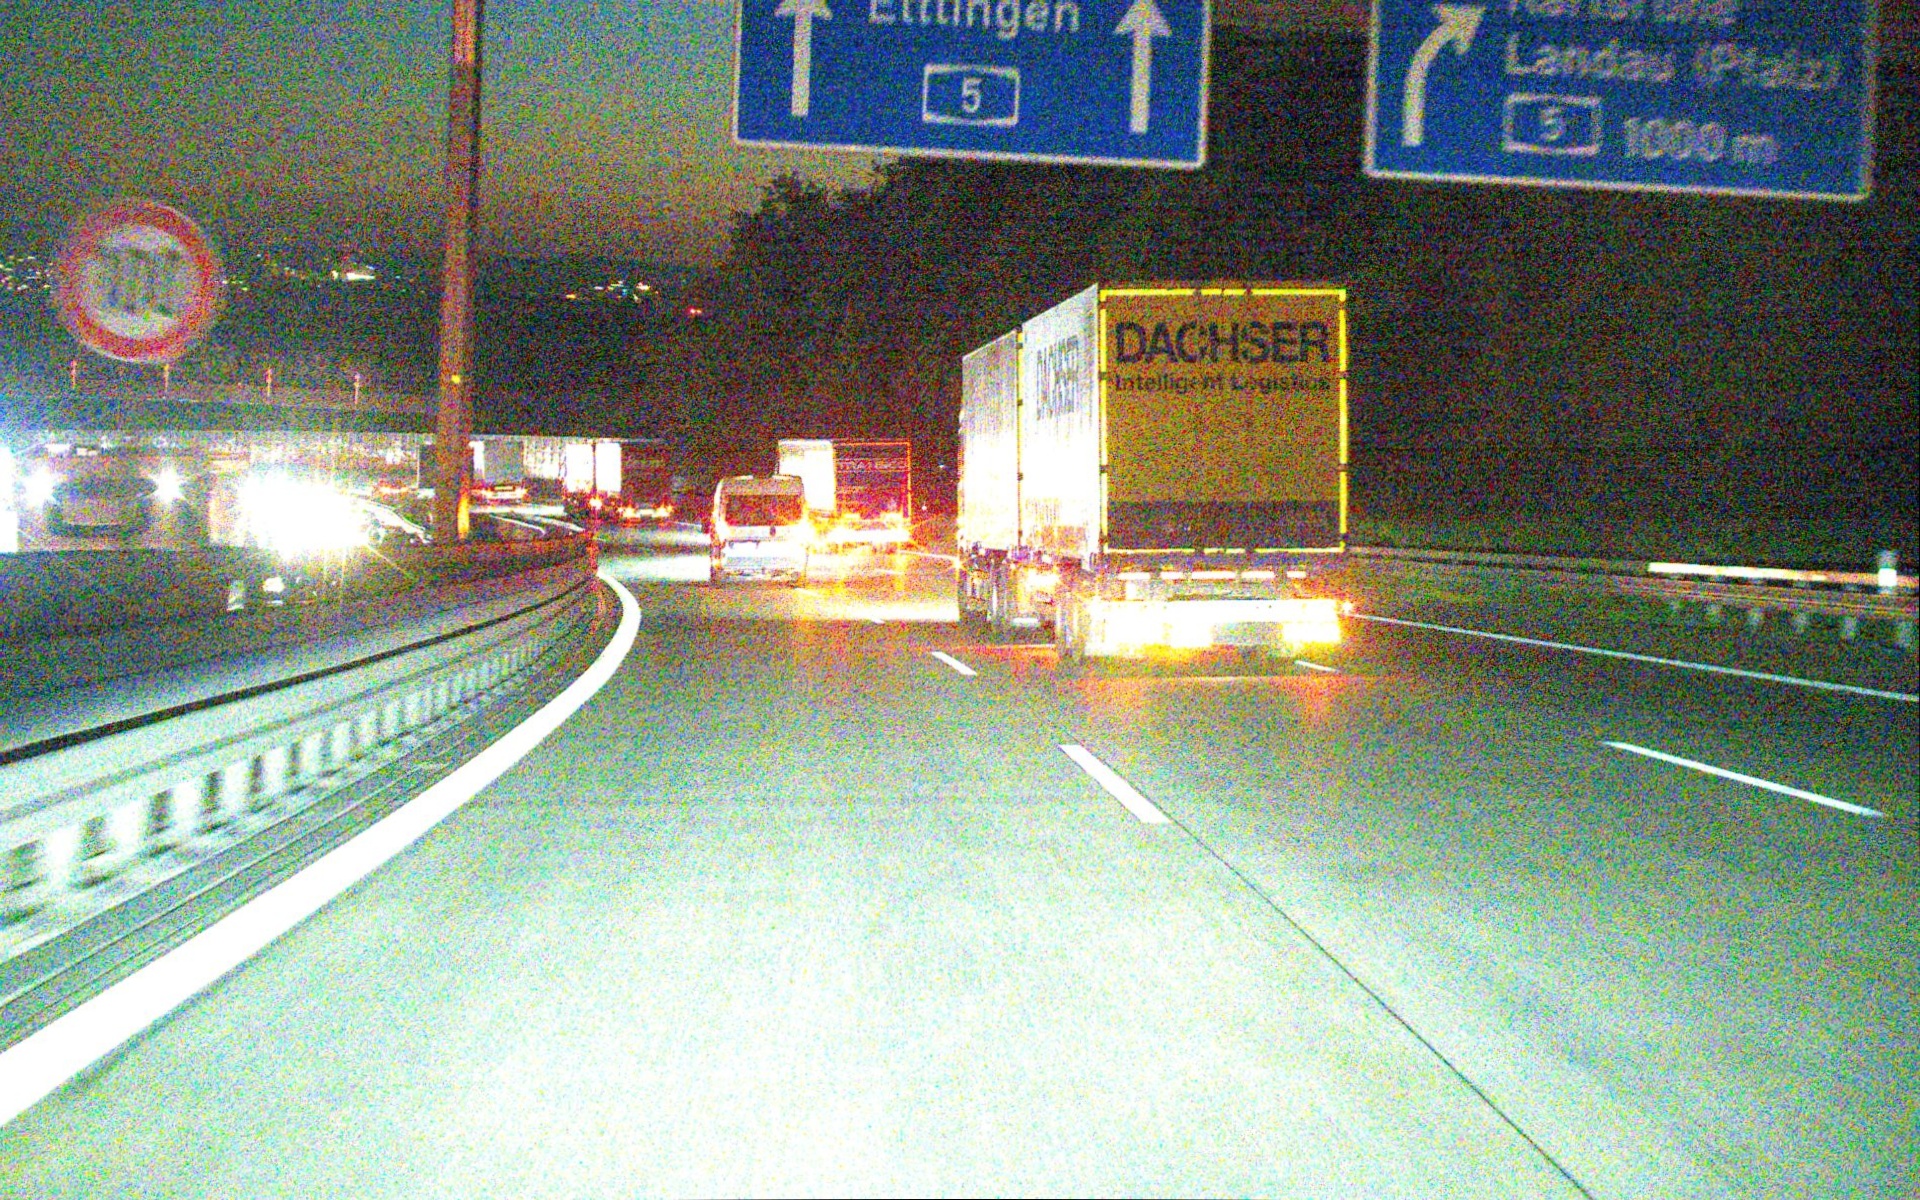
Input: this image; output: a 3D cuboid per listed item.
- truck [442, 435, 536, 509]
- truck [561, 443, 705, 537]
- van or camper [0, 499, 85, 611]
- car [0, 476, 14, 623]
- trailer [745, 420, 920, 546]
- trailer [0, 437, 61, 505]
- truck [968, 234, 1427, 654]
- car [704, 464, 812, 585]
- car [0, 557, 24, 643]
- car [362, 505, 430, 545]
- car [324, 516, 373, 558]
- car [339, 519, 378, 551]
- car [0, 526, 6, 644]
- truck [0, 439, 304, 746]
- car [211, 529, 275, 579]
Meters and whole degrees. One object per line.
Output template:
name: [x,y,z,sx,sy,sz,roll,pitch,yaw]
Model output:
truck: [-30.428,-8.307,221.339,3.343,4.460,13.915,2,2,-18]
truck: [-17.562,-5.929,182.354,3.914,4.611,21.027,-2,3,-15]
van or camper: [-24.002,-1.181,88.245,2.444,2.751,6.491,-1,1,-10]
car: [-14.030,-0.677,46.473,1.993,2.007,4.001,0,1,-9]
trailer: [-4.522,-4.147,117.885,2.853,4.053,13.211,-1,3,-16]
trailer: [-60.760,-8.468,224.251,2.839,4.157,13.289,-4,4,-19]
truck: [2.376,-1.731,43.421,3.482,4.120,18.712,1,1,-3]
car: [-4.573,-1.705,78.349,2.337,2.631,5.248,1,1,-3]
car: [-22.175,0.009,76.478,1.833,1.853,5.448,-1,1,-7]
car: [-20.074,-2.681,122.322,1.754,1.350,4.293,-2,2,-18]
car: [-26.338,-2.705,148.052,1.680,1.560,4.001,-5,0,-15]
car: [-25.549,-2.764,146.039,1.418,1.252,3.130,-1,3,-14]
car: [-19.939,-0.228,66.895,1.833,2.362,5.448,-1,1,-7]
truck: [-10.477,-0.160,44.531,2.654,3.579,8.551,1,1,-3]
car: [-22.717,-1.480,109.034,1.606,1.474,4.075,-2,2,-7]
